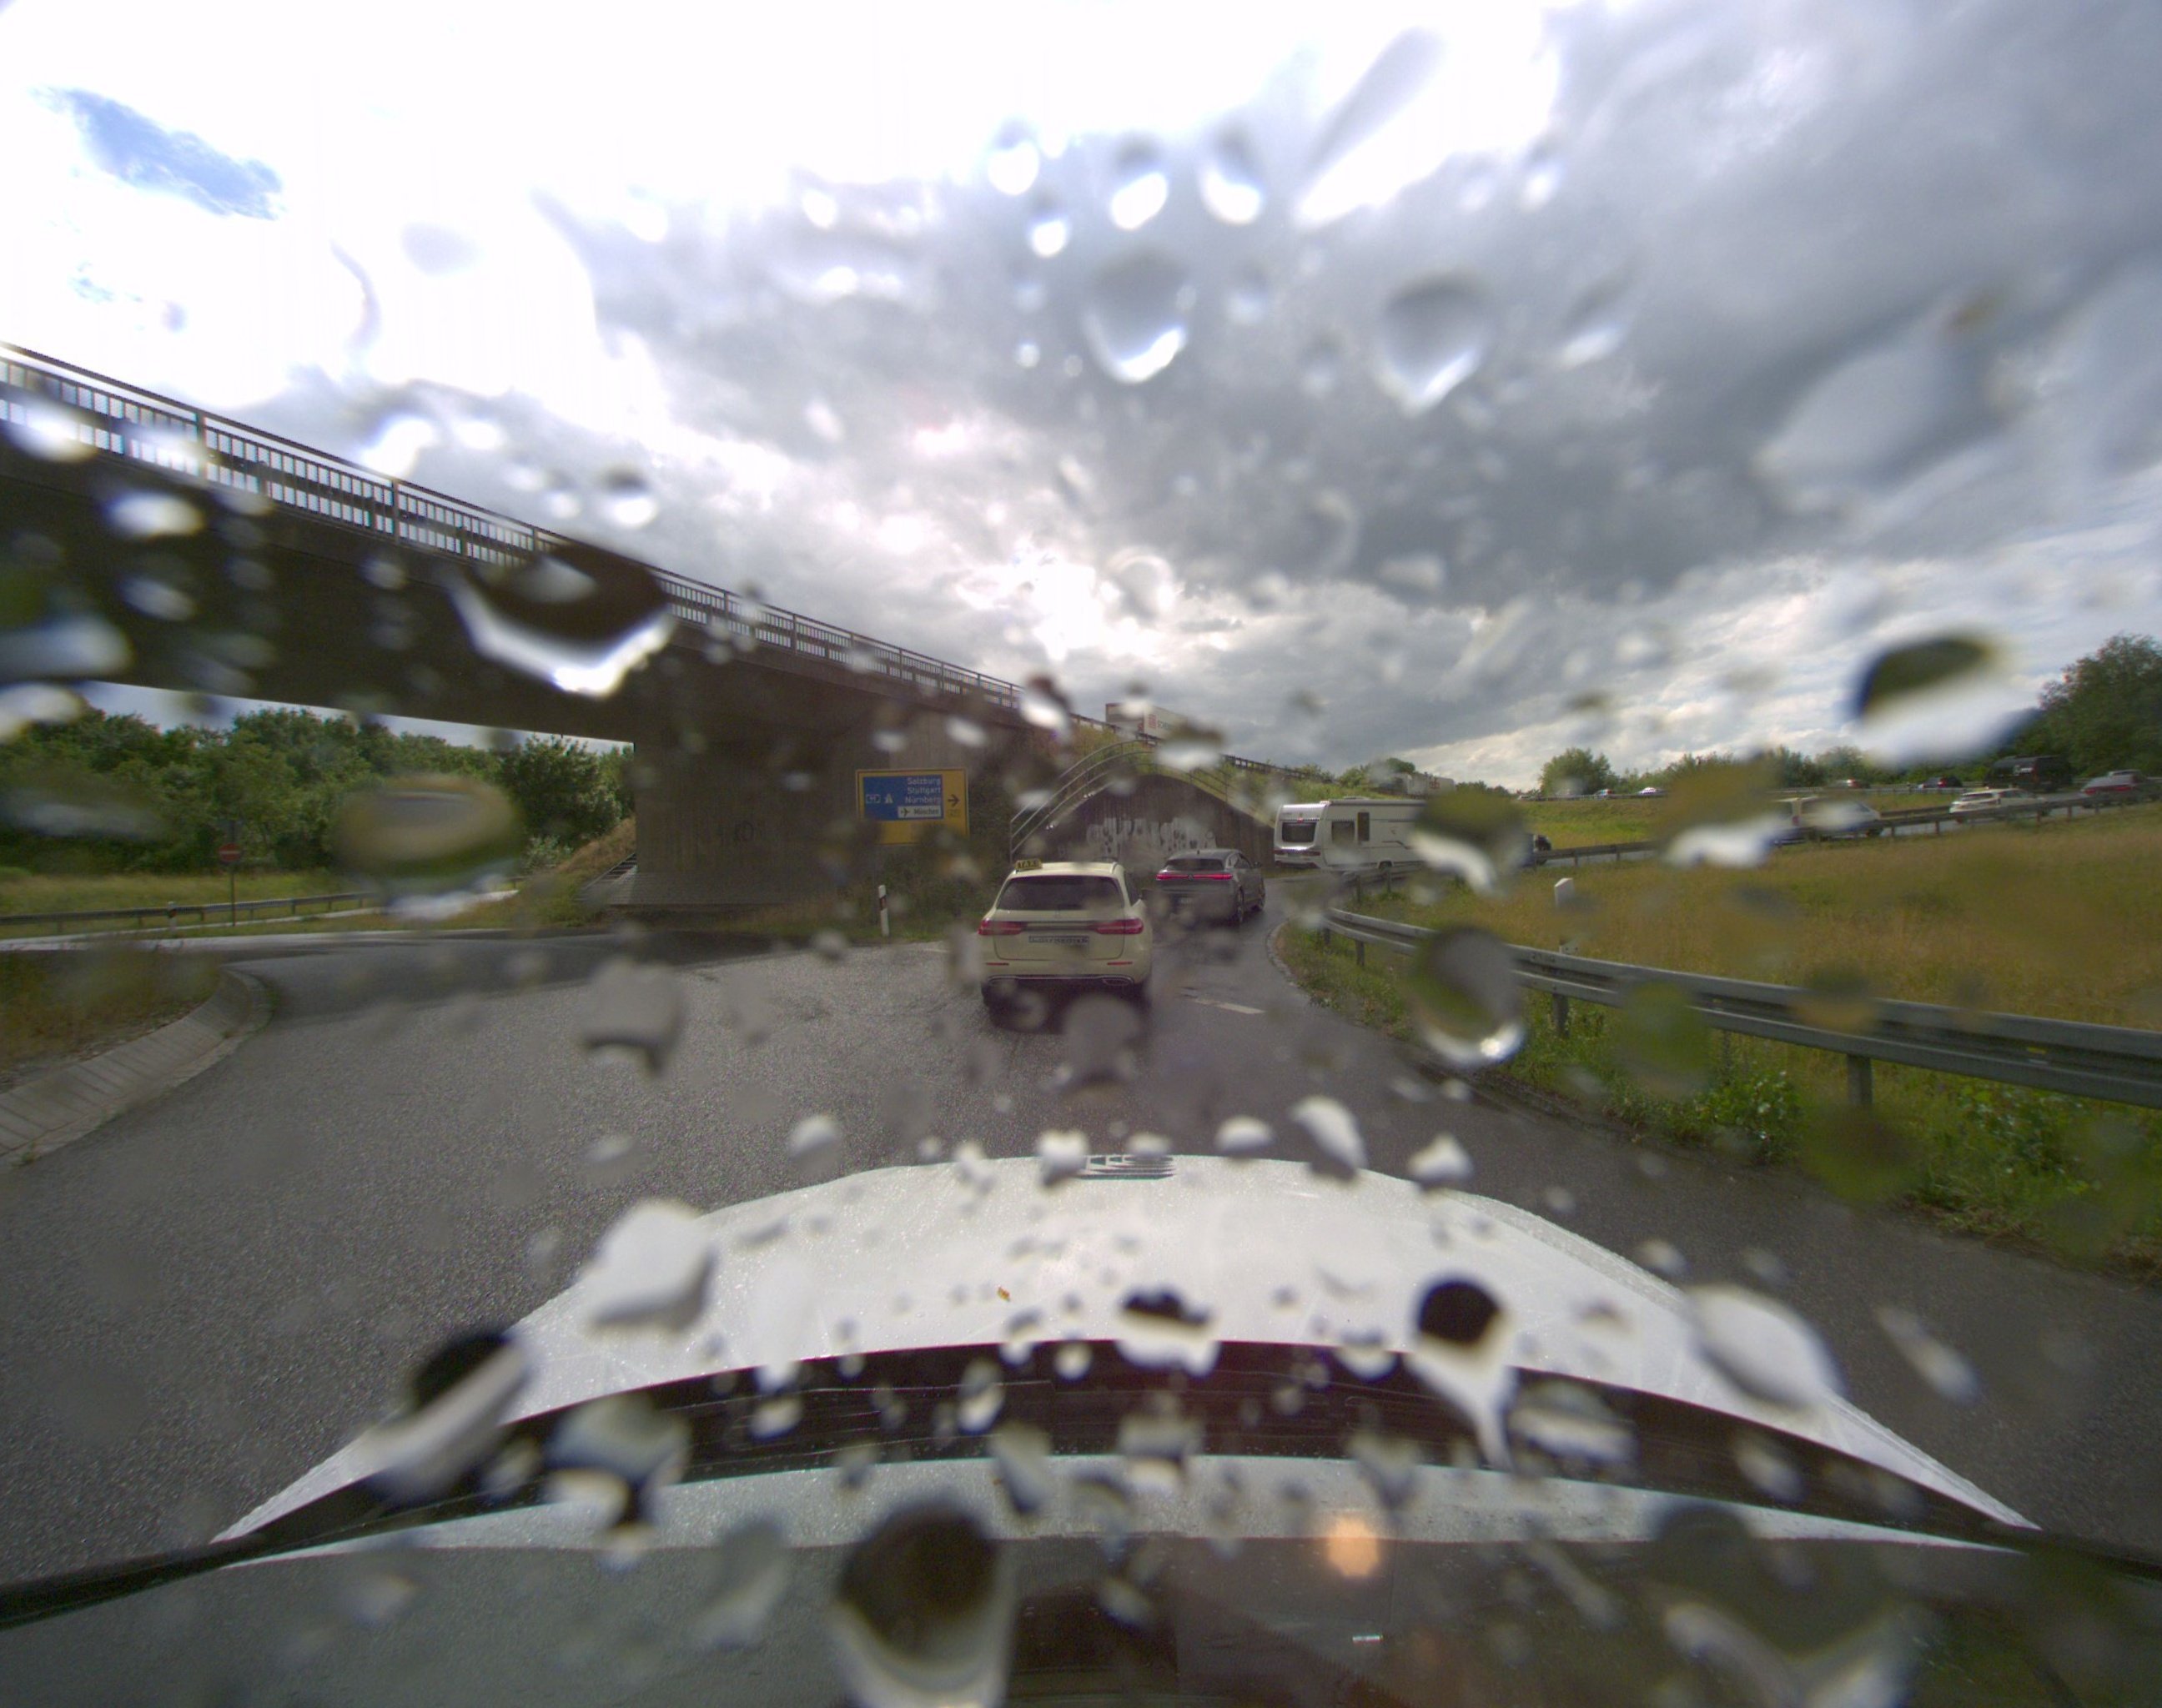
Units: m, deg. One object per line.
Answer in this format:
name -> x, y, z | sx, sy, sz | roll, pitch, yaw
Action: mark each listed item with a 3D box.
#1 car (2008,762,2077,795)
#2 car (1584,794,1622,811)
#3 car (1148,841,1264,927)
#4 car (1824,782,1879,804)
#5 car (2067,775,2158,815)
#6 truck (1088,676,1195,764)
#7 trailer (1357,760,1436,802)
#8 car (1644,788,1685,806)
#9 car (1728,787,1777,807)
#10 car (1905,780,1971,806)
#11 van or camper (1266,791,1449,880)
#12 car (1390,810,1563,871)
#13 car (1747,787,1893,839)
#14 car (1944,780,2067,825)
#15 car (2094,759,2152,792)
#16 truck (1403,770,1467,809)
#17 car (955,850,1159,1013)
car -> 70.558, -5.534, 59.867 | 1.975, 2.013, 4.025 | 0, 0, 29
car -> 71.694, -7.033, 111.896 | 2.002, 2.013, 3.970 | -2, 0, -22
car -> 2.827, 0.549, 17.657 | 1.703, 1.524, 4.021 | 0, 2, 20
car -> 76.918, -6.077, 81.356 | 1.983, 2.013, 4.008 | -3, 2, 6
car -> 52.441, -3.000, 41.380 | 5.070, 1.861, 1.982 | -3, 0, -28
truck -> 4.031, -8.139, 51.142 | 3.150, 3.966, 9.293 | 0, 0, 28
trailer -> 41.800, -9.370, 107.041 | 4.370, 3.955, 20.348 | 0, 0, 37
car -> 73.805, -7.247, 103.073 | 1.994, 2.013, 3.986 | 0, 0, -10
car -> 75.230, -6.364, 91.292 | 1.994, 2.013, 3.986 | 0, 0, -10
car -> 74.408, -5.271, 70.800 | 1.980, 2.013, 4.014 | -2, 1, 12
van or camper -> 9.437, -0.713, 27.666 | 6.017, 2.729, 2.416 | -2, 2, -28
car -> 14.557, -0.557, 30.002 | 5.760, 1.925, 2.421 | -3, 2, -19
car -> 30.218, -1.666, 33.325 | 5.049, 1.861, 1.990 | -3, 0, -15
car -> 43.031, -2.404, 37.902 | 5.056, 1.861, 1.987 | -3, 0, -19
car -> 64.410, -4.804, 50.413 | 5.087, 1.784, 1.645 | -3, 1, -44
truck -> 53.631, -9.517, 122.703 | 4.417, 4.503, 19.500 | 0, 0, 37
car -> -0.058, 0.744, 10.007 | 1.907, 1.507, 4.601 | -1, 0, 4
